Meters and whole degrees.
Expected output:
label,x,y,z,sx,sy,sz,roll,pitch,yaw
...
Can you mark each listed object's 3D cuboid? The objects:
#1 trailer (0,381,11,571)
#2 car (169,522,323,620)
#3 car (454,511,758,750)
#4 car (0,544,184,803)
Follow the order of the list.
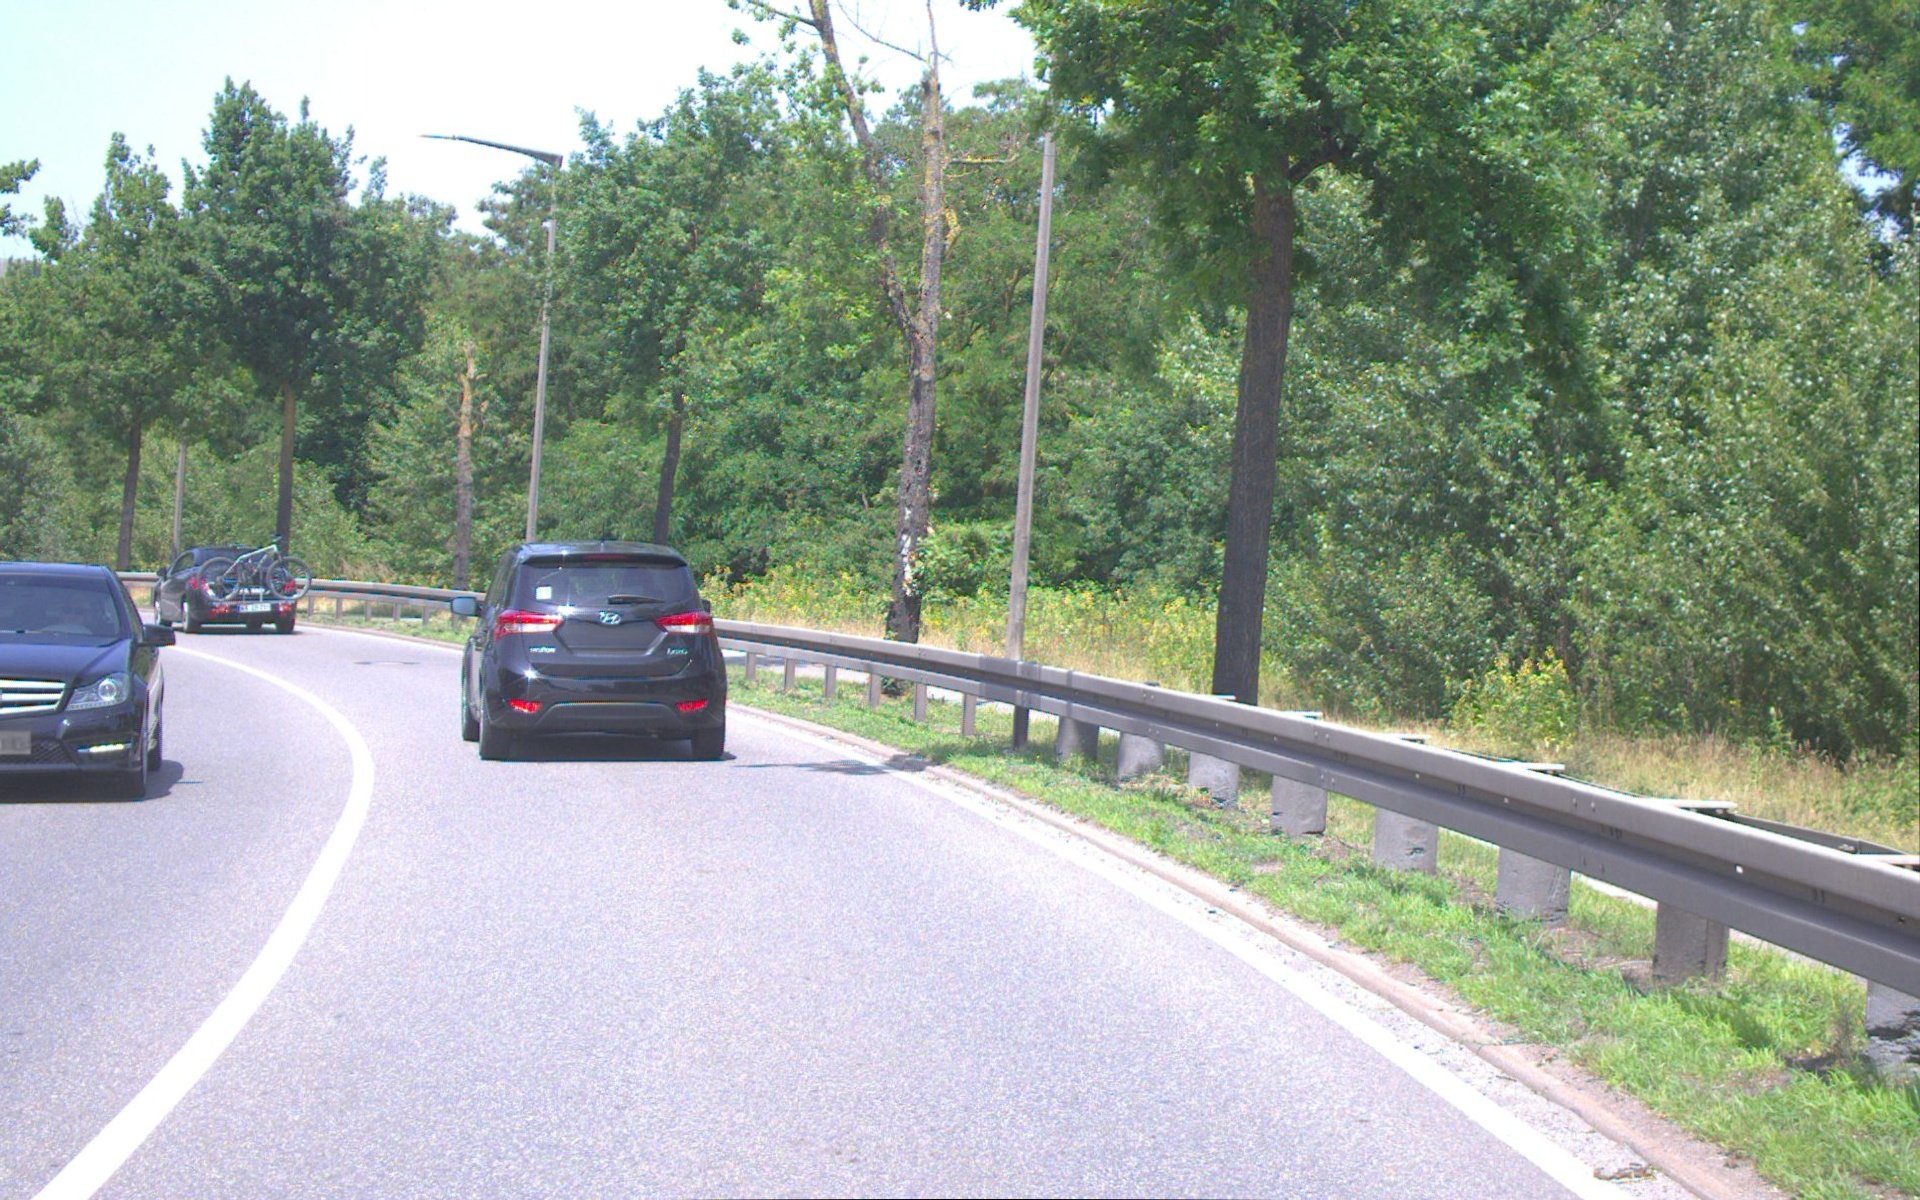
label,x,y,z,sx,sy,sz,roll,pitch,yaw
trailer,-26.299,-3.139,83.368,3.569,4.369,11.443,1,2,-29
car,-11.705,-0.496,56.191,2.011,1.424,3.778,1,2,-18
car,-2.759,0.171,26.022,1.921,1.568,3.893,1,2,-11
car,-5.899,0.384,21.486,1.675,1.438,4.130,1,1,-8
